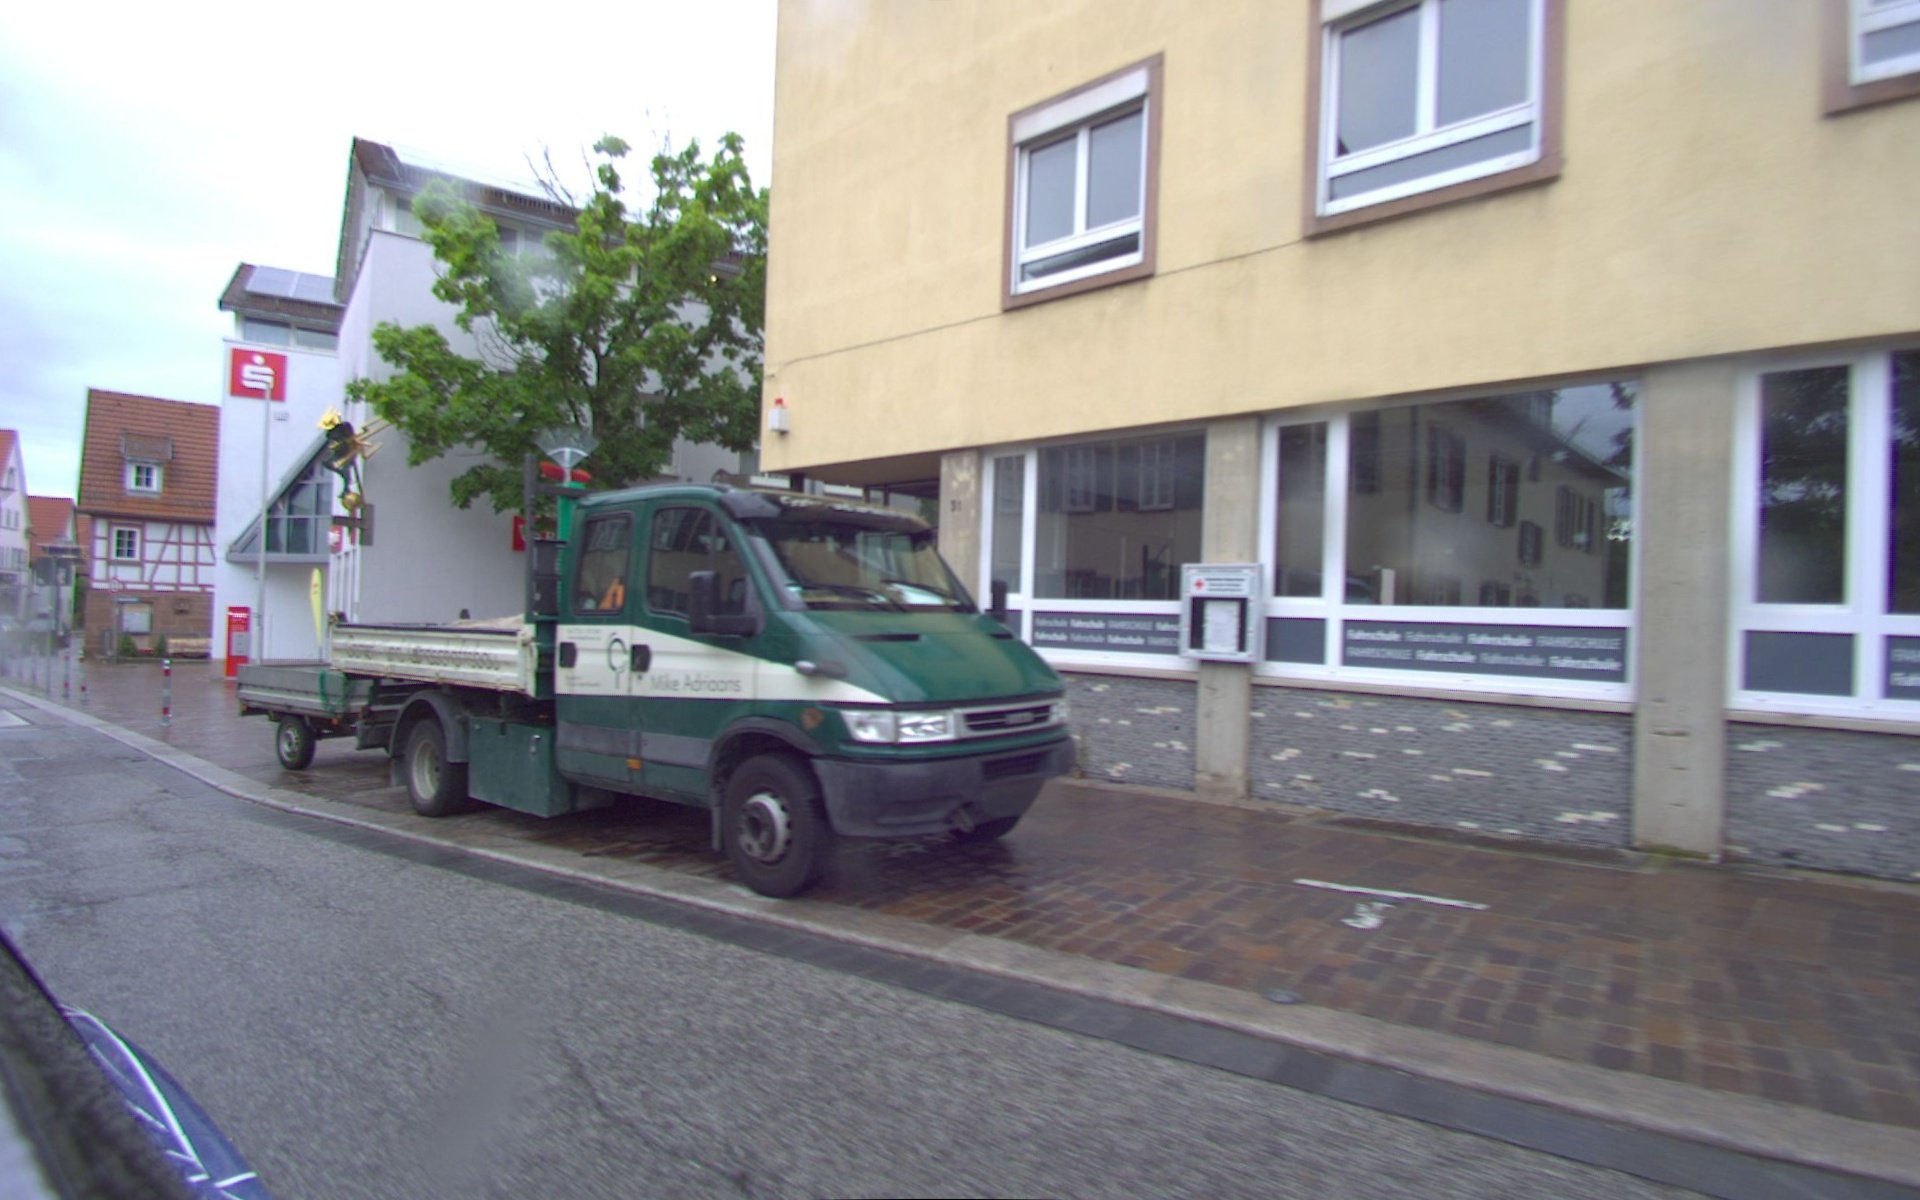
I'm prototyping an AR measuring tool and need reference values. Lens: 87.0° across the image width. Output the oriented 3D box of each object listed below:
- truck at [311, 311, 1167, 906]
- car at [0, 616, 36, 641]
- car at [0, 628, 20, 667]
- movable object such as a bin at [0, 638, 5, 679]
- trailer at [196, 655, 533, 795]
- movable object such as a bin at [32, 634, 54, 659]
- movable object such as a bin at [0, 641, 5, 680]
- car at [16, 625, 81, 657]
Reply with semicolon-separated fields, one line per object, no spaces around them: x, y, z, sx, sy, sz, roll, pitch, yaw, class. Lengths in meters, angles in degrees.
-2.020;0.204;7.340;6.470;2.615;2.377;-3;-4;37;truck
-57.558;1.713;61.134;1.838;1.472;4.011;3;-3;-33;car
-38.151;1.837;39.722;1.781;1.453;4.003;1;-1;-44;car
-26.588;1.606;27.658;0.645;1.085;0.688;-1;0;42;movable object such as a bin
-5.916;1.144;10.027;3.013;1.133;1.836;-3;-4;36;trailer
-39.558;2.002;43.658;0.530;1.030;0.604;-1;-3;42;movable object such as a bin
-27.117;1.677;28.152;0.645;1.059;0.688;-1;-3;42;movable object such as a bin
-44.451;1.963;49.418;1.778;1.453;4.011;1;-1;-34;car
